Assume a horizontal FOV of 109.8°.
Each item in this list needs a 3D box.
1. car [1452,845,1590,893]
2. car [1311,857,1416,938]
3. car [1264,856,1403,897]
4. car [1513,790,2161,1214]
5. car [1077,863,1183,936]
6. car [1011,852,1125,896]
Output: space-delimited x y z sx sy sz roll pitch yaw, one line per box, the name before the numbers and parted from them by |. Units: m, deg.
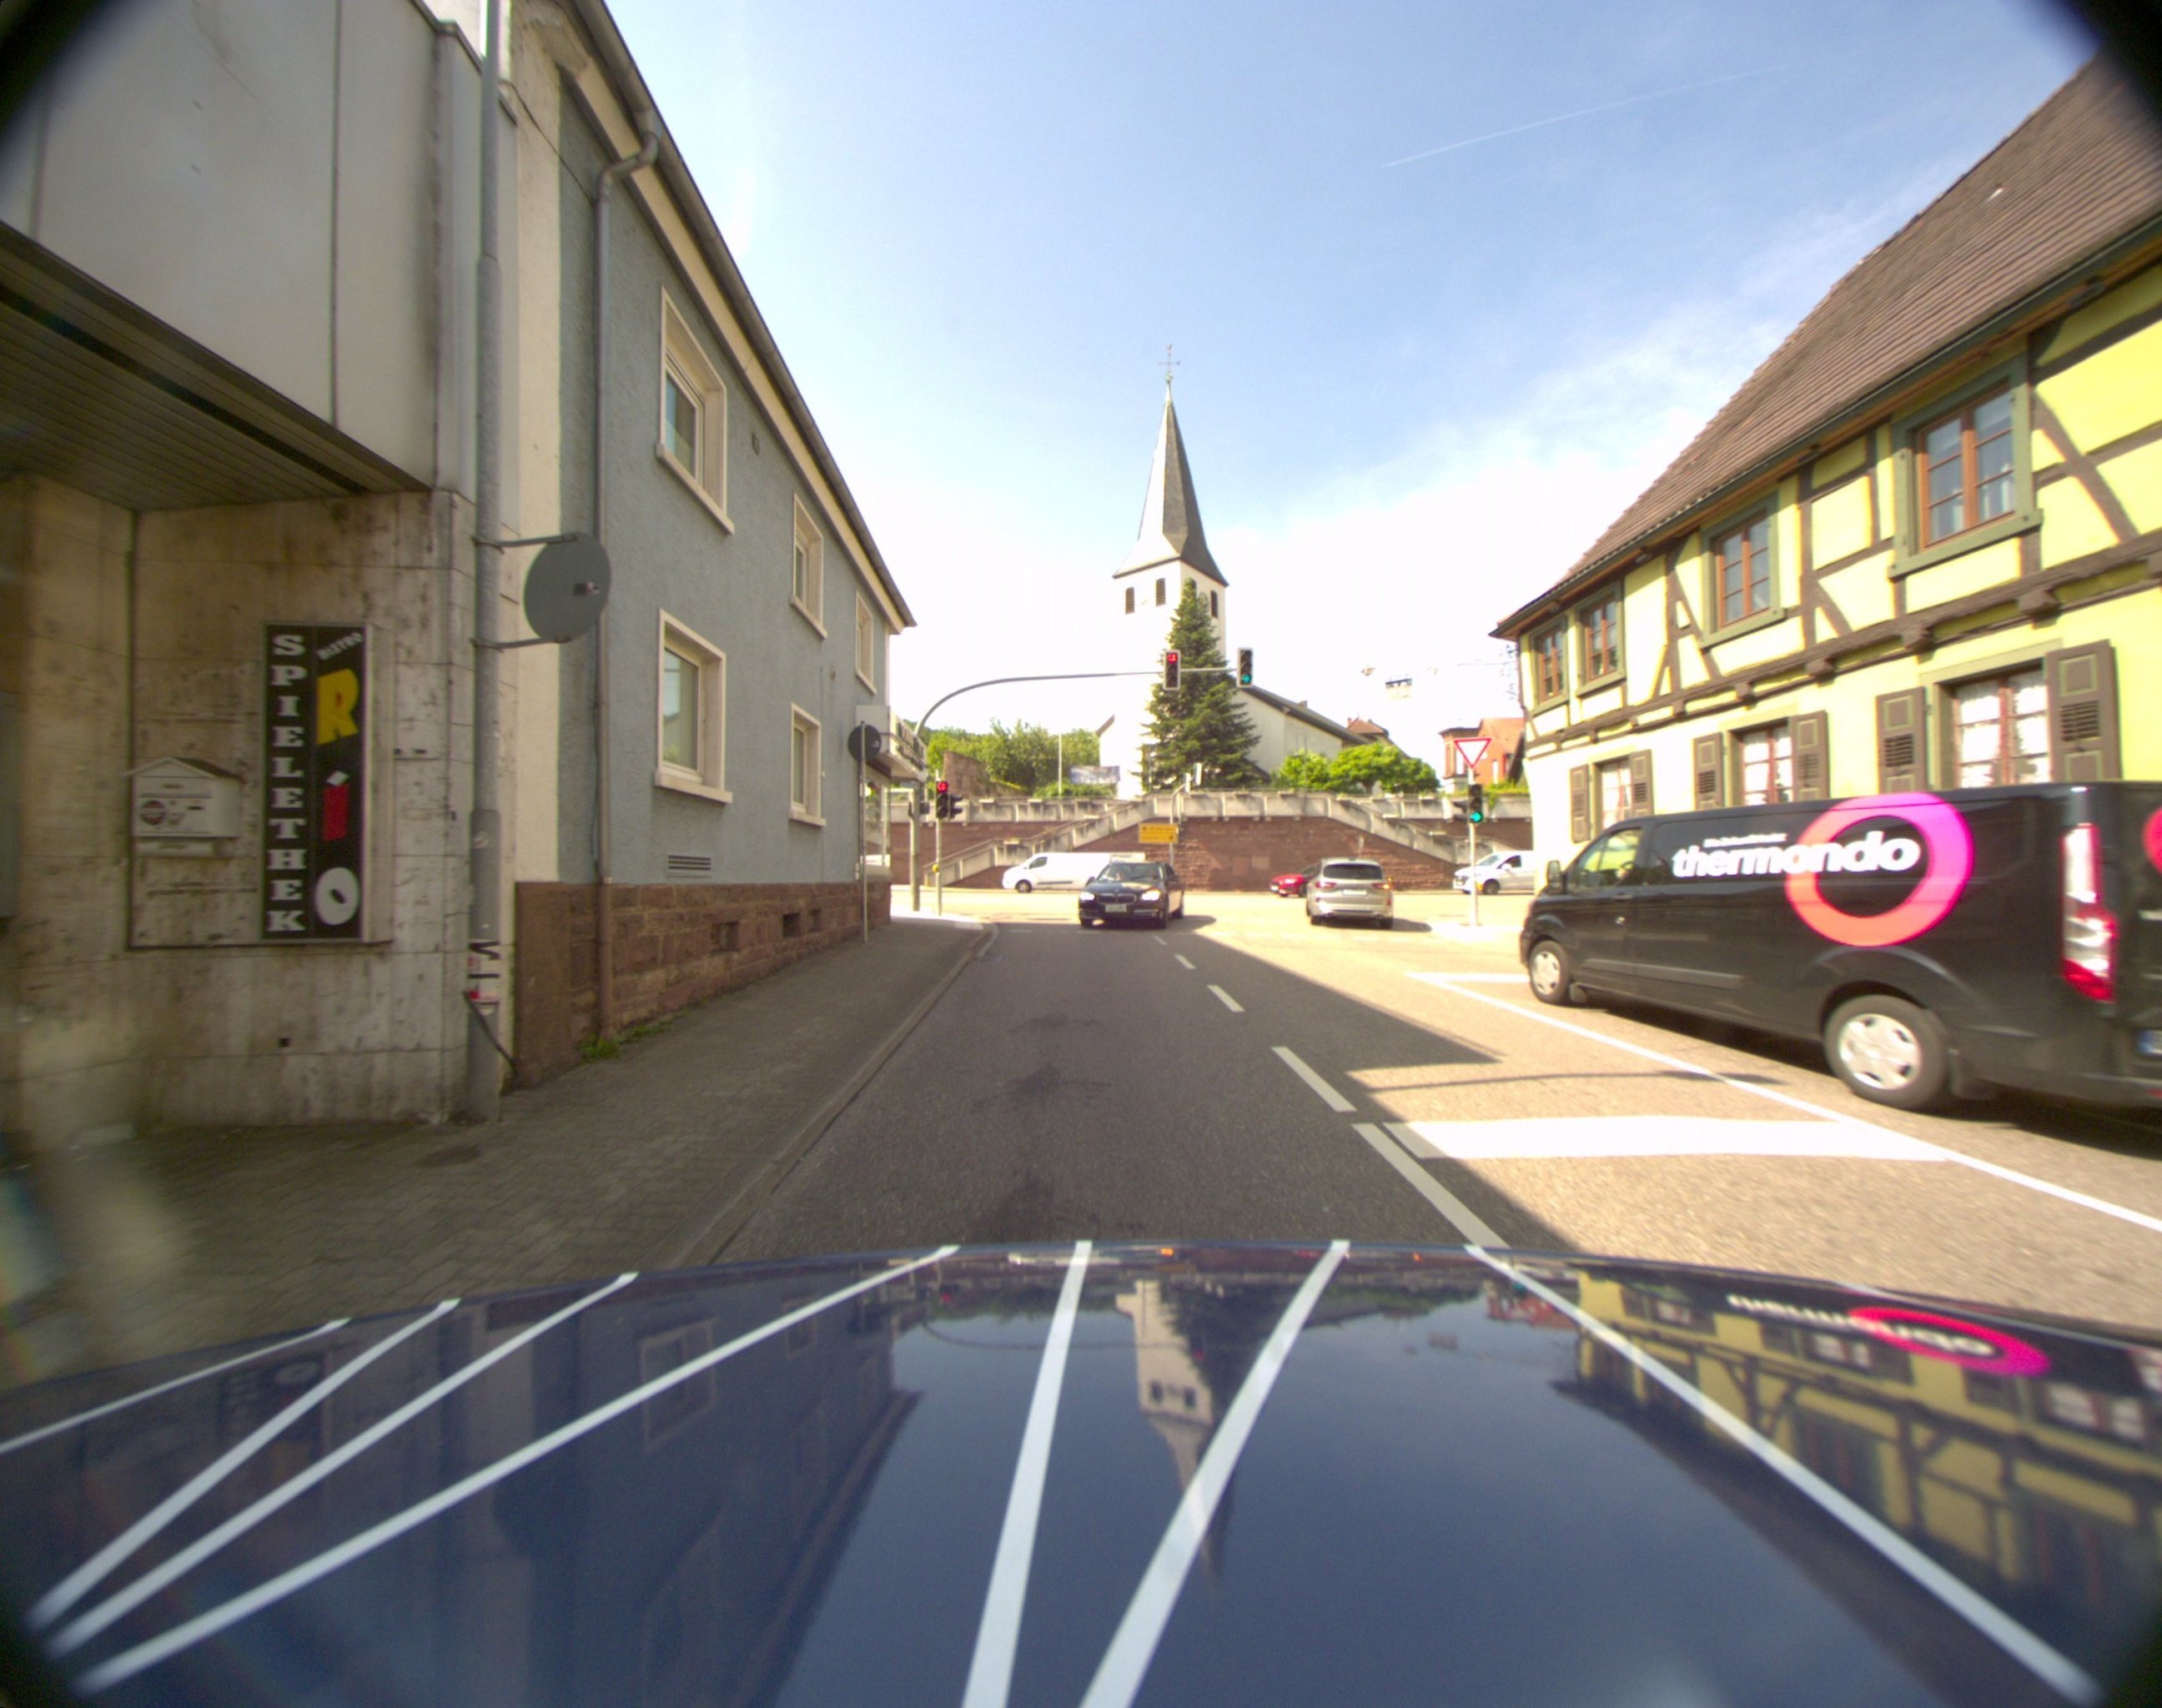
car | 18.943 0.648 32.839 4.962 1.895 1.826 -1 0 -4
car | 6.521 0.895 17.987 1.758 1.600 4.433 2 0 13
car | 10.319 0.900 31.204 4.948 1.506 2.164 -1 0 -10
car | 5.953 0.717 5.997 2.164 1.912 5.166 2 0 1
car | 1.260 0.952 17.470 1.823 1.426 4.253 -1 -1 12
car | -0.558 0.951 36.365 5.273 1.955 2.145 -1 -1 1
